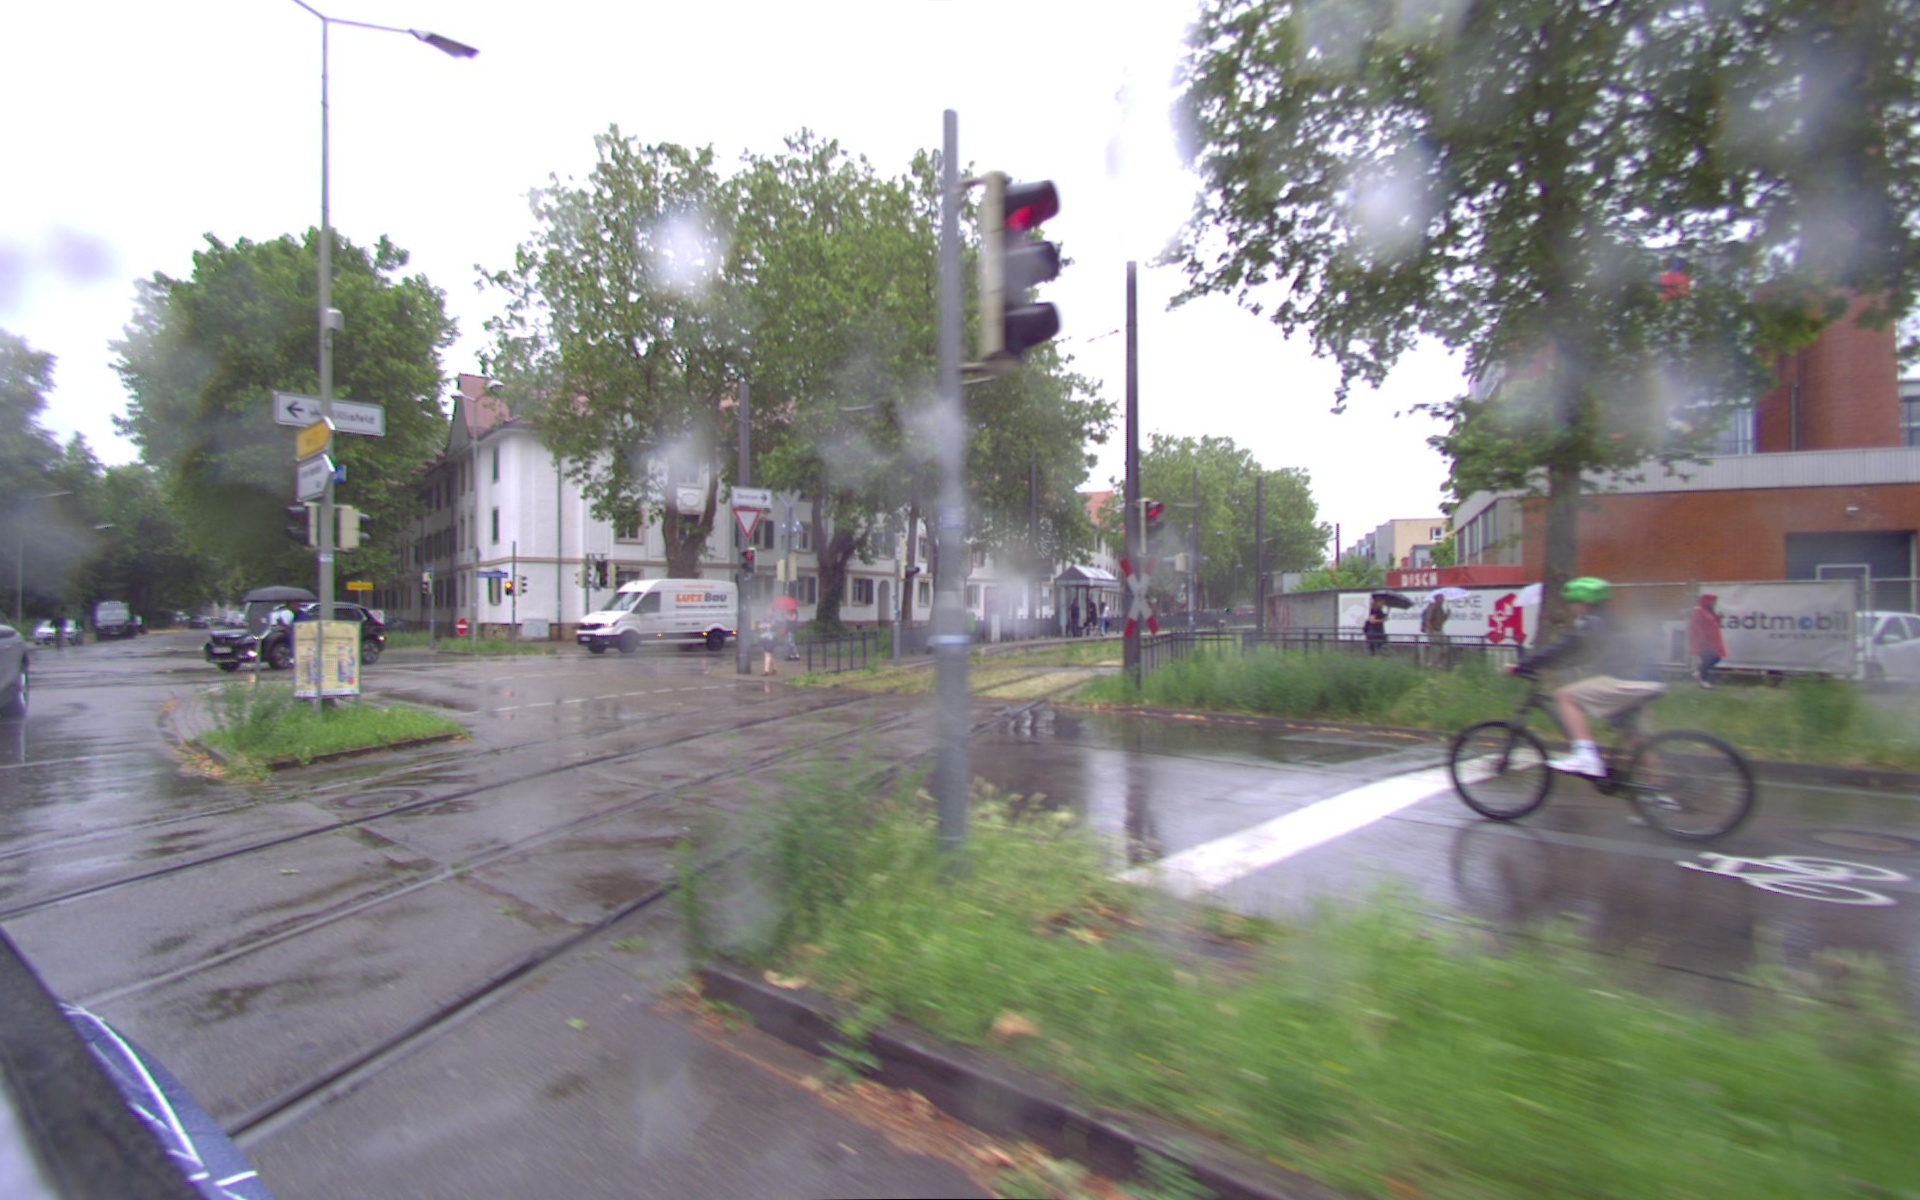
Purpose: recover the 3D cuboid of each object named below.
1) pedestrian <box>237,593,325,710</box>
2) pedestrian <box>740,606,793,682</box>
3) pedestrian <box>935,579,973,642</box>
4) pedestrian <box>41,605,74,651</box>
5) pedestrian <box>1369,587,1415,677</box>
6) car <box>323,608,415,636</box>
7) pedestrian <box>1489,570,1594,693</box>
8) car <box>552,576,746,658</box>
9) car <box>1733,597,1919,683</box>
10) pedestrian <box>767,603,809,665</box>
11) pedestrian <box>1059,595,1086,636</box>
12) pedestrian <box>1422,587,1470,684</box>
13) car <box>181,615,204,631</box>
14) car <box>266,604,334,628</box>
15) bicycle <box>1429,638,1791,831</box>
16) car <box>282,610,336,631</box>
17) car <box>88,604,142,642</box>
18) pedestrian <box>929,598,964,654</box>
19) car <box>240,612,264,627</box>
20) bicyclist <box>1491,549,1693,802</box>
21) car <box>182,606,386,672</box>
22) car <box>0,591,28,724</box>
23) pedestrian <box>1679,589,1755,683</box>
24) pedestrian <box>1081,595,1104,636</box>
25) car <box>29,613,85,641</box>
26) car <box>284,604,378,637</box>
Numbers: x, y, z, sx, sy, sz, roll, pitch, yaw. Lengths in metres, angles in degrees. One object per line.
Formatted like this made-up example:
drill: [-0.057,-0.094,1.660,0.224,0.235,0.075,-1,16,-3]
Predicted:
pedestrian: [-9.620,0.716,14.354,0.641,1.593,0.853,-1,-2,37]
pedestrian: [-4.385,0.987,23.010,0.855,1.701,0.842,-1,-2,25]
pedestrian: [-0.187,0.327,30.043,0.855,1.846,0.842,-1,-2,25]
pedestrian: [-41.162,1.280,46.171,0.928,2.078,1.083,1,-2,-32]
pedestrian: [9.225,0.676,21.580,0.844,1.876,0.947,-1,-2,26]
car: [-30.970,1.146,53.086,3.937,1.364,1.800,-1,0,-40]
pedestrian: [9.747,0.522,17.004,0.896,1.979,1.219,0,-1,-21]
car: [-10.655,0.547,35.304,2.279,2.581,6.434,-1,-1,35]
car: [15.687,0.644,17.717,3.601,1.331,1.850,-1,0,-23]
pedestrian: [-4.872,0.958,28.682,0.844,1.701,0.853,-1,-2,26]
pedestrian: [4.985,0.698,44.809,0.847,1.800,0.850,1,-2,-40]
pedestrian: [9.785,0.706,20.381,0.844,1.876,0.947,-1,-2,26]
car: [-90.273,2.692,119.065,1.968,1.820,4.357,0,-1,-40]
car: [-59.152,1.456,90.689,5.006,2.039,2.038,1,-2,-36]
bicycle: [4.042,0.772,6.410,1.873,1.032,0.526,-1,-1,41]
car: [-53.623,1.671,83.400,3.661,1.703,1.942,1,-2,-36]
car: [-58.596,1.595,70.299,2.363,2.494,5.706,1,-2,-35]
pedestrian: [-0.420,0.812,31.699,0.855,1.701,0.842,-1,-2,25]
car: [-86.053,2.392,123.021,1.969,1.820,4.006,0,-1,-40]
bicyclist: [4.018,0.446,6.450,1.010,1.472,0.573,-1,-1,41]
car: [-16.217,0.903,24.553,1.835,1.455,3.984,0,-1,12]
car: [-12.382,0.702,11.729,1.780,1.633,4.147,0,-1,-35]
pedestrian: [12.517,0.587,16.769,0.844,1.516,0.821,-1,-2,26]
pedestrian: [5.973,0.715,45.580,0.847,1.839,0.850,0,-2,-4]
car: [-50.335,1.507,56.461,1.792,1.470,4.283,0,-1,-34]
car: [-37.227,1.215,59.921,4.595,1.888,2.038,1,-2,-36]
